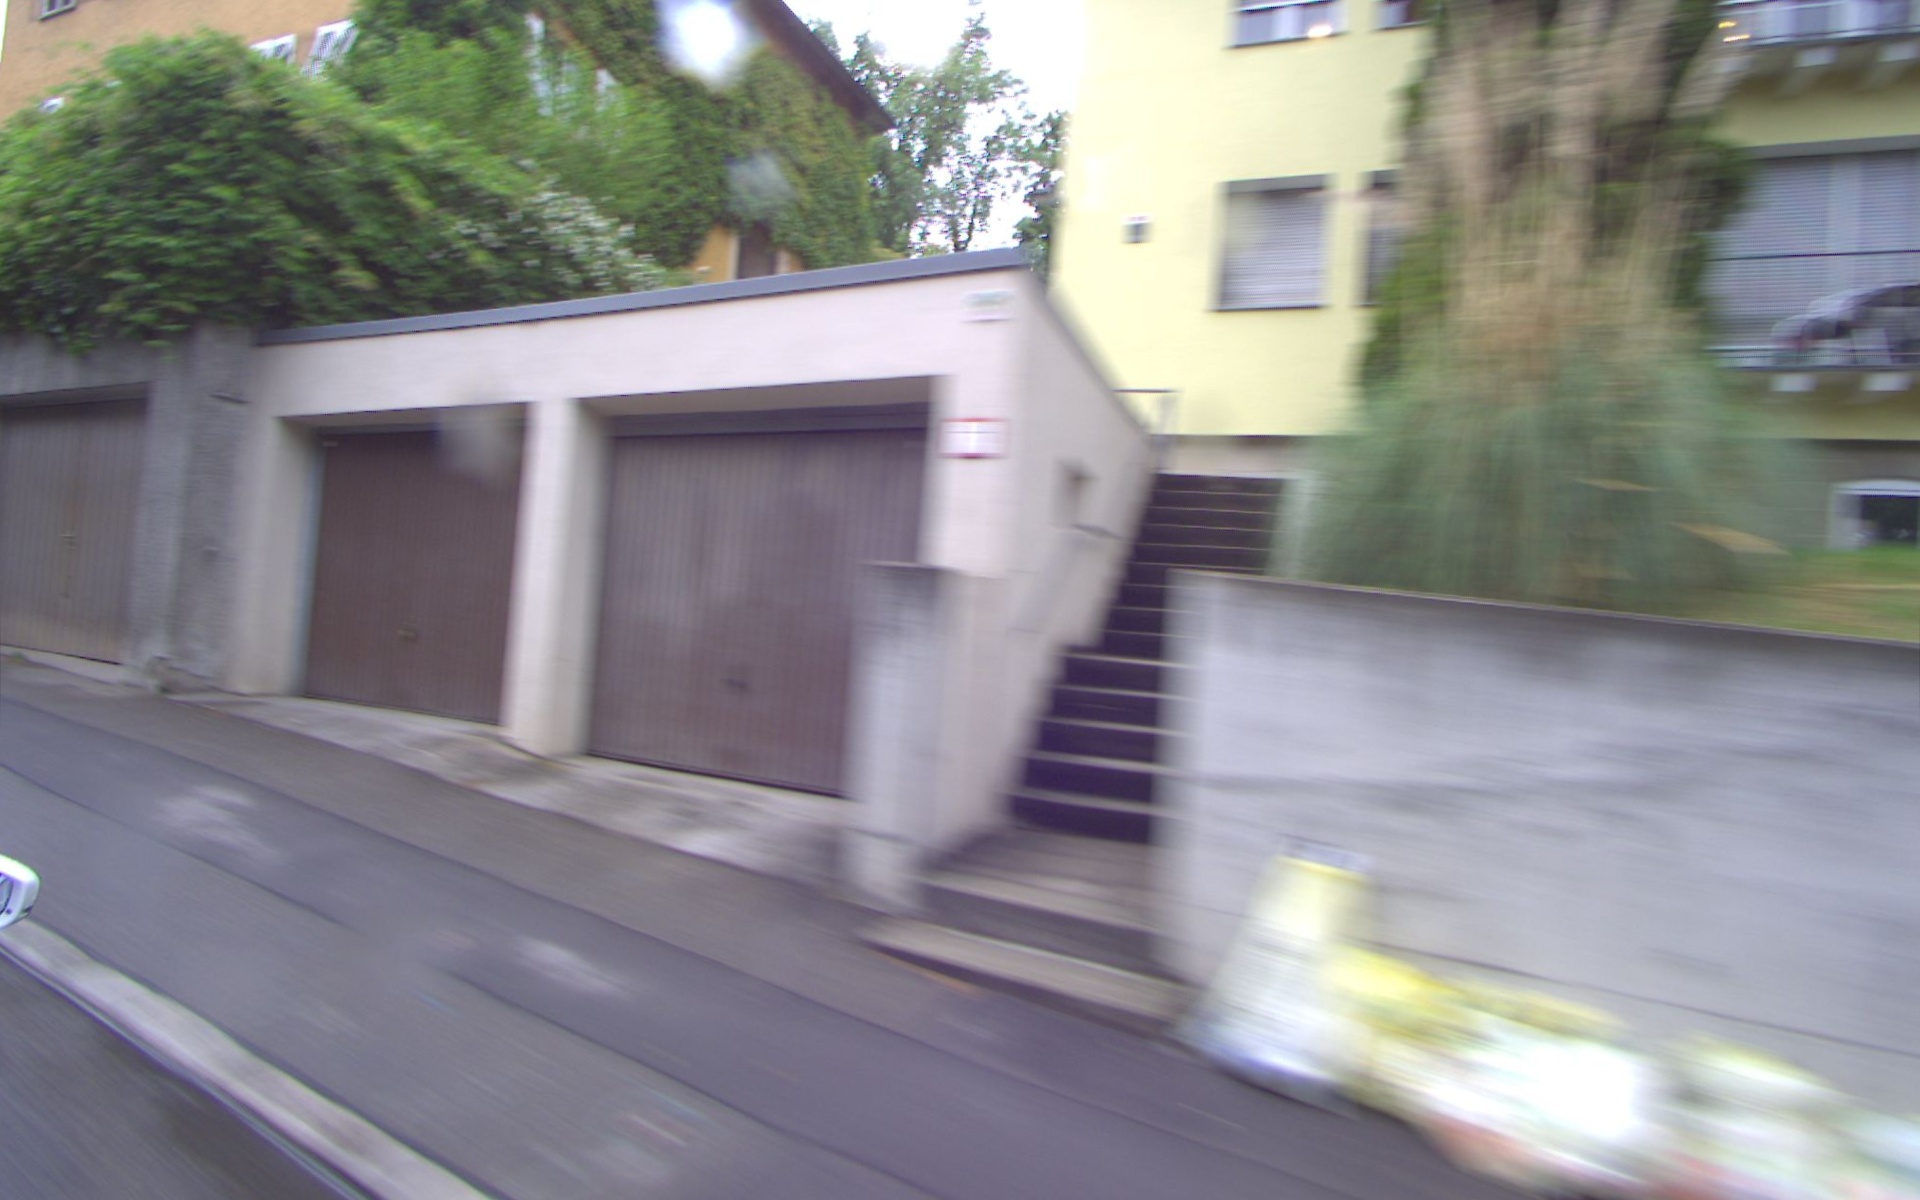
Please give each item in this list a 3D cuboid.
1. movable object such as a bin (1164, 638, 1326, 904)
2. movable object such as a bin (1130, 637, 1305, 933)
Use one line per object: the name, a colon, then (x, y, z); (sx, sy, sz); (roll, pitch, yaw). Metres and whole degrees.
movable object such as a bin: (1.341, 0.764, 4.719); (0.511, 1.106, 0.479); (8, 2, 30)
movable object such as a bin: (1.097, 0.742, 4.256); (0.484, 1.106, 0.481); (8, 2, 30)
